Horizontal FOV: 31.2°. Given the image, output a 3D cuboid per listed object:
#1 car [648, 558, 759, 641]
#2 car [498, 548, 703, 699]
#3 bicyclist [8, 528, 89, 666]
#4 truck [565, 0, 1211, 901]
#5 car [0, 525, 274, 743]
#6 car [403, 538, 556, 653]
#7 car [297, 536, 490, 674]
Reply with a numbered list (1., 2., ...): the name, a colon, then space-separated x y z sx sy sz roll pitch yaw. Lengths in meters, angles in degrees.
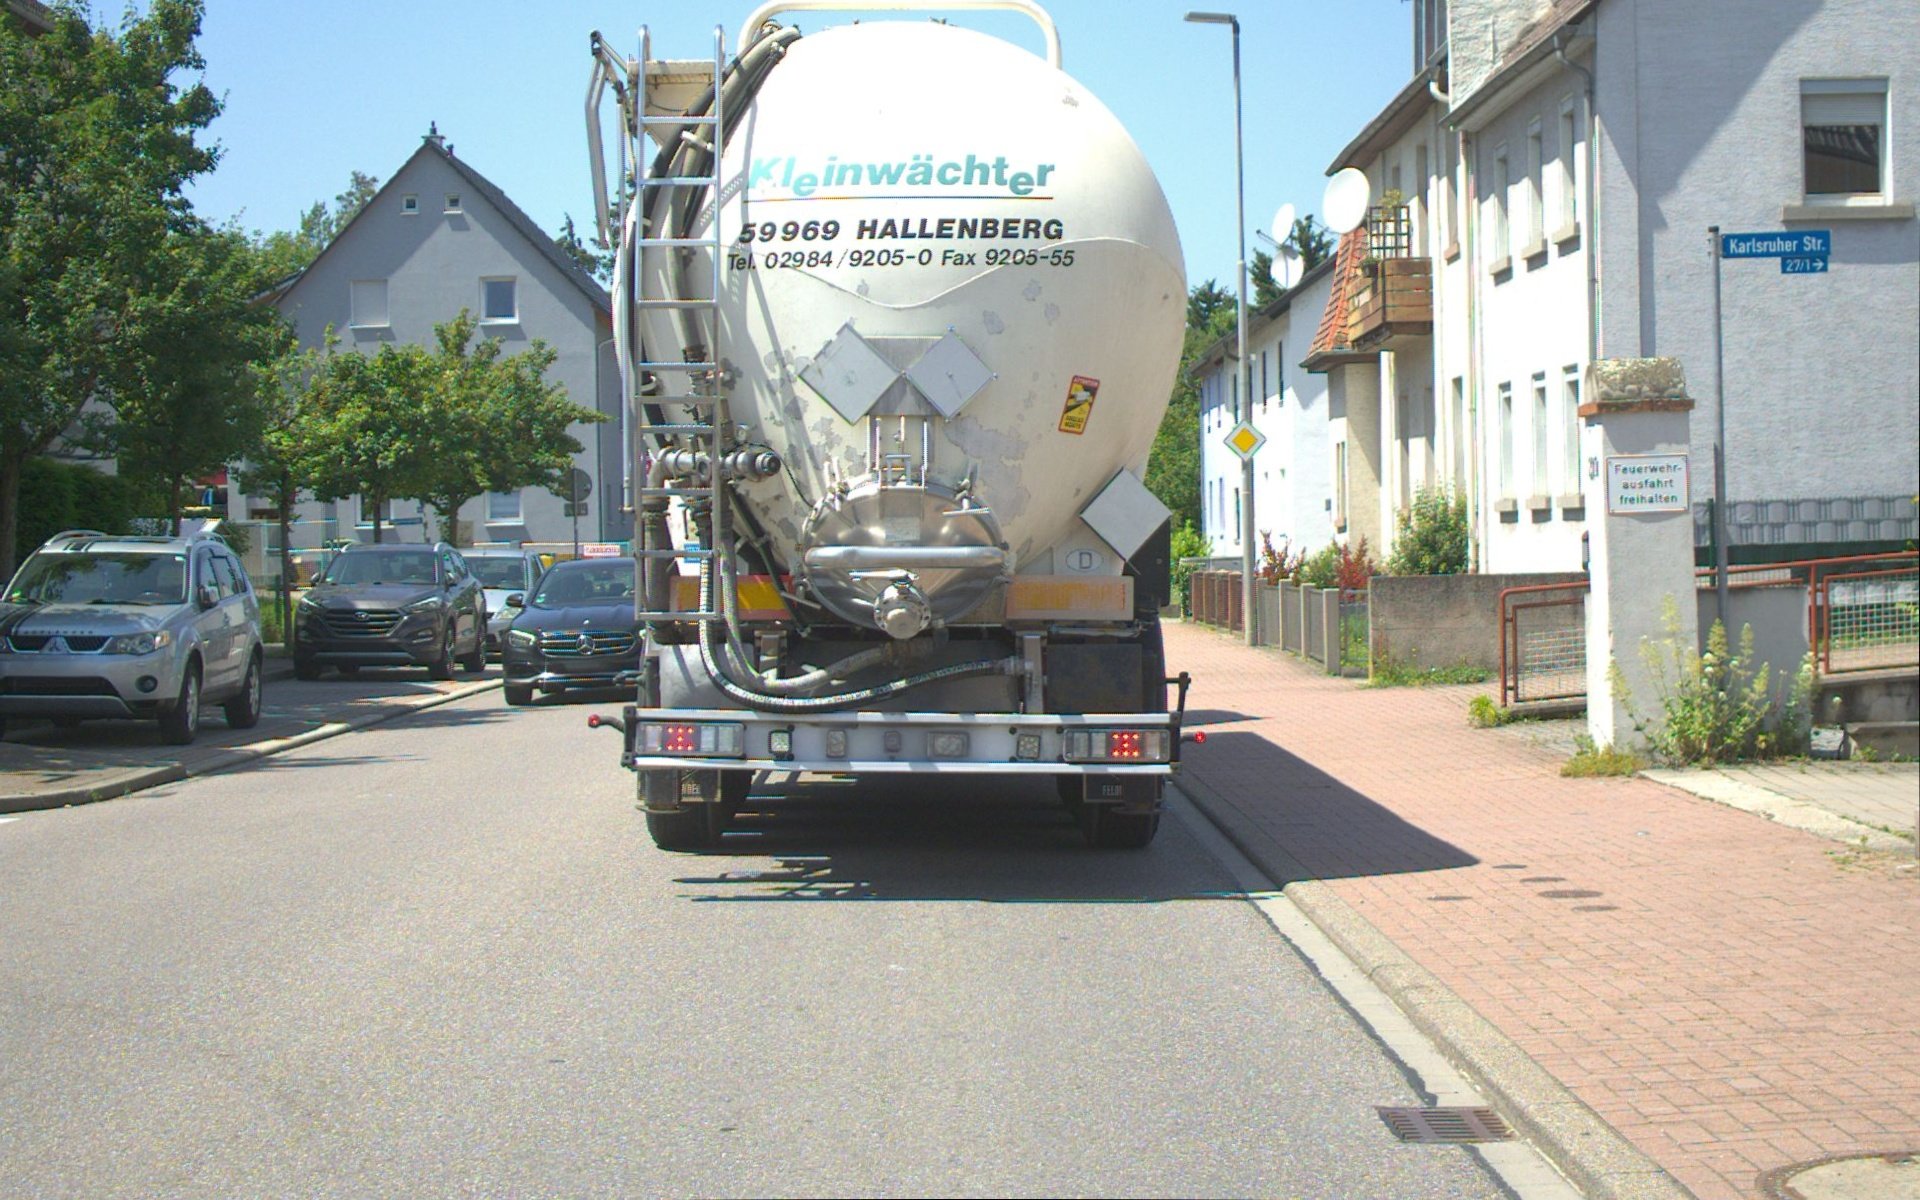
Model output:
1. car: -4.690 -0.032 63.343 1.706 1.365 3.869 -3 1 0
2. car: -3.764 0.198 36.670 1.730 1.455 4.695 -2 1 -1
3. bicyclist: -10.116 -0.037 38.178 0.658 1.489 0.909 2 1 -4
4. truck: -0.414 -0.851 18.975 2.641 4.002 9.562 0 1 -1
5. car: -6.981 0.222 28.662 1.706 1.681 4.526 0 1 -1
6. car: -6.842 -0.092 49.248 1.697 1.575 3.838 0 1 -1
7. car: -6.928 0.028 42.354 1.691 1.614 3.997 0 1 0
